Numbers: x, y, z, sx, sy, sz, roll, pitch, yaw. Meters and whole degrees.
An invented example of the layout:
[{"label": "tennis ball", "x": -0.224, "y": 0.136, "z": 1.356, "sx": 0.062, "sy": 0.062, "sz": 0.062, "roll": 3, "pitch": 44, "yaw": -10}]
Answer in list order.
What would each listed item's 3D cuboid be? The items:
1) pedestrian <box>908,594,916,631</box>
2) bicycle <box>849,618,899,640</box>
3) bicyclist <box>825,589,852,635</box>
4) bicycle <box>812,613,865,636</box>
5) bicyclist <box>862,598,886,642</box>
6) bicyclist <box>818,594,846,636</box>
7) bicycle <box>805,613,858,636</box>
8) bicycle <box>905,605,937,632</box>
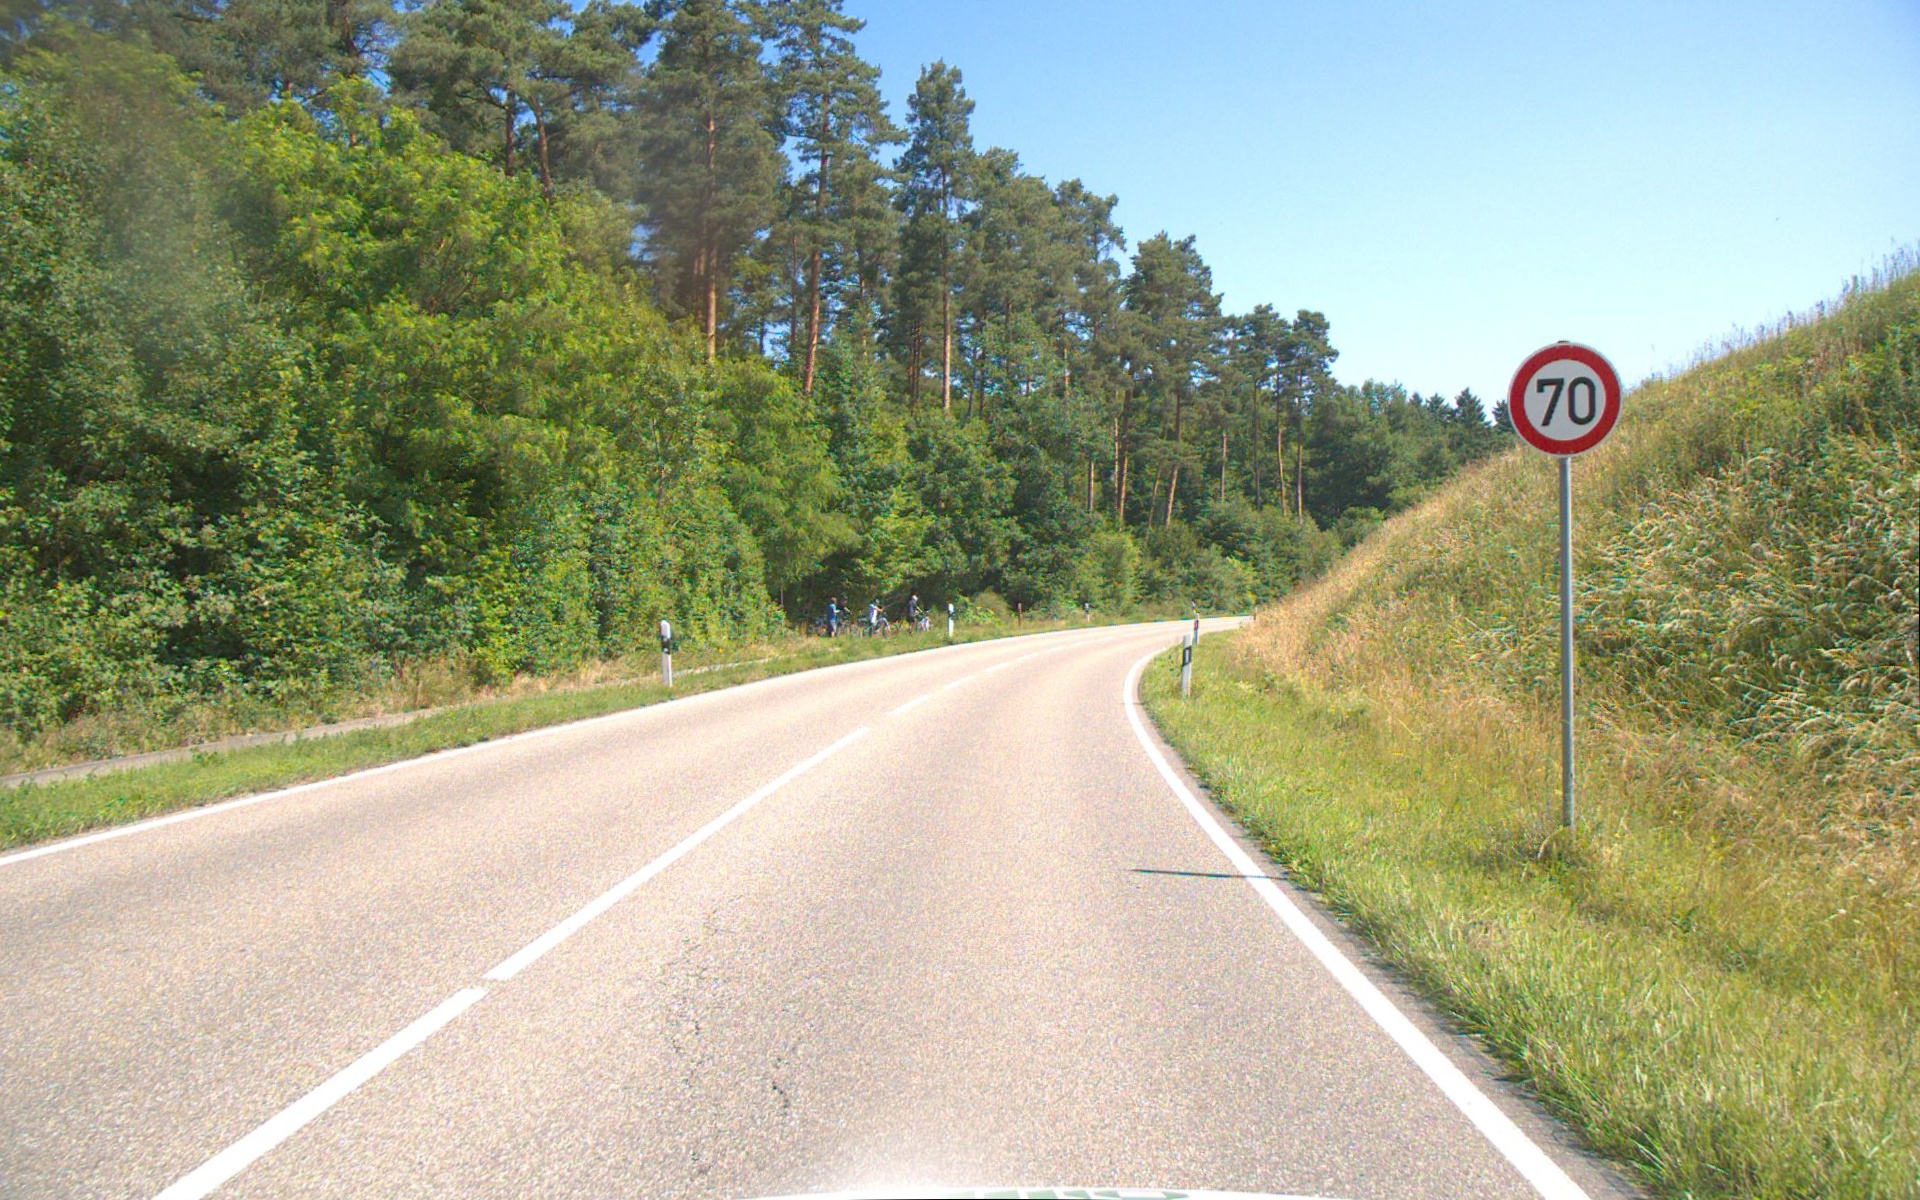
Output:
[{"label": "pedestrian", "x": -2.076, "y": 0.541, "z": 71.730, "sx": 0.277, "sy": 1.565, "sz": 0.391, "roll": -1, "pitch": 0, "yaw": 9}, {"label": "bicycle", "x": -3.502, "y": 1.179, "z": 67.293, "sx": 1.954, "sy": 0.844, "sz": 0.601, "roll": 1, "pitch": -1, "yaw": -26}, {"label": "bicyclist", "x": -4.655, "y": 0.470, "z": 63.533, "sx": 0.840, "sy": 1.730, "sz": 0.599, "roll": 2, "pitch": -1, "yaw": -33}, {"label": "bicycle", "x": -4.661, "y": 0.946, "z": 63.533, "sx": 1.960, "sy": 0.844, "sz": 0.599, "roll": 1, "pitch": -1, "yaw": -33}, {"label": "bicyclist", "x": -3.515, "y": 0.822, "z": 67.281, "sx": 0.777, "sy": 1.749, "sz": 0.601, "roll": 1, "pitch": -1, "yaw": -26}, {"label": "bicyclist", "x": -4.835, "y": 0.571, "z": 62.393, "sx": 0.860, "sy": 1.572, "sz": 0.599, "roll": 2, "pitch": -1, "yaw": -33}, {"label": "bicycle", "x": -4.841, "y": 0.927, "z": 62.380, "sx": 1.960, "sy": 0.844, "sz": 0.599, "roll": 1, "pitch": -1, "yaw": -33}, {"label": "bicycle", "x": -1.687, "y": 0.806, "z": 71.861, "sx": 0.572, "sy": 1.105, "sz": 1.438, "roll": 2, "pitch": 2, "yaw": 42}]
